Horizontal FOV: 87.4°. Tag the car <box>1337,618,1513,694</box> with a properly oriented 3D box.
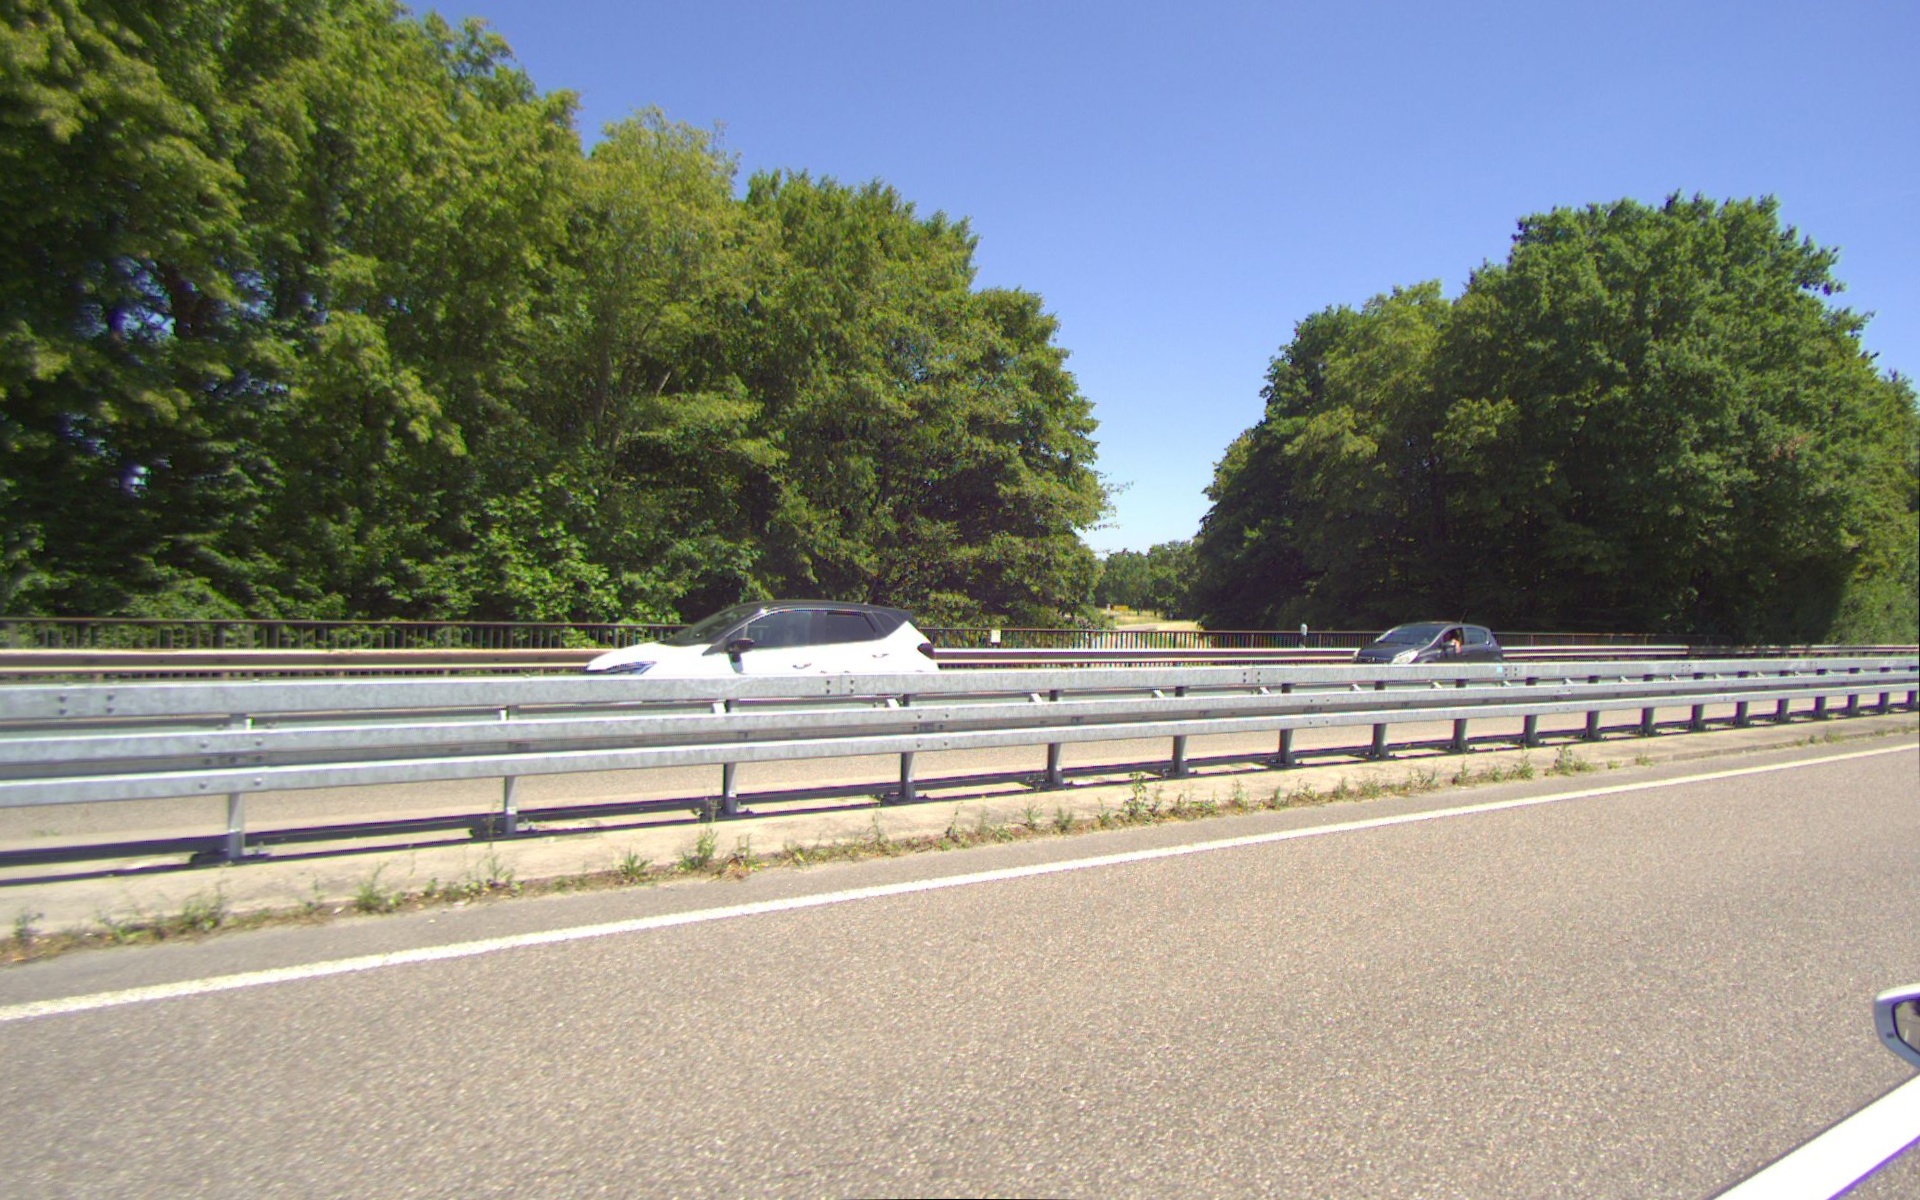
[{"bbox_3d":[10.355,1.200,22.328,3.953,1.549,1.643,1,-1,-31],"label":"car"}]

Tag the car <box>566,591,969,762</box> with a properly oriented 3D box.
[{"bbox_3d":[-2.092,0.771,11.344,4.171,1.628,1.643,1,-1,-31],"label":"car"}]
